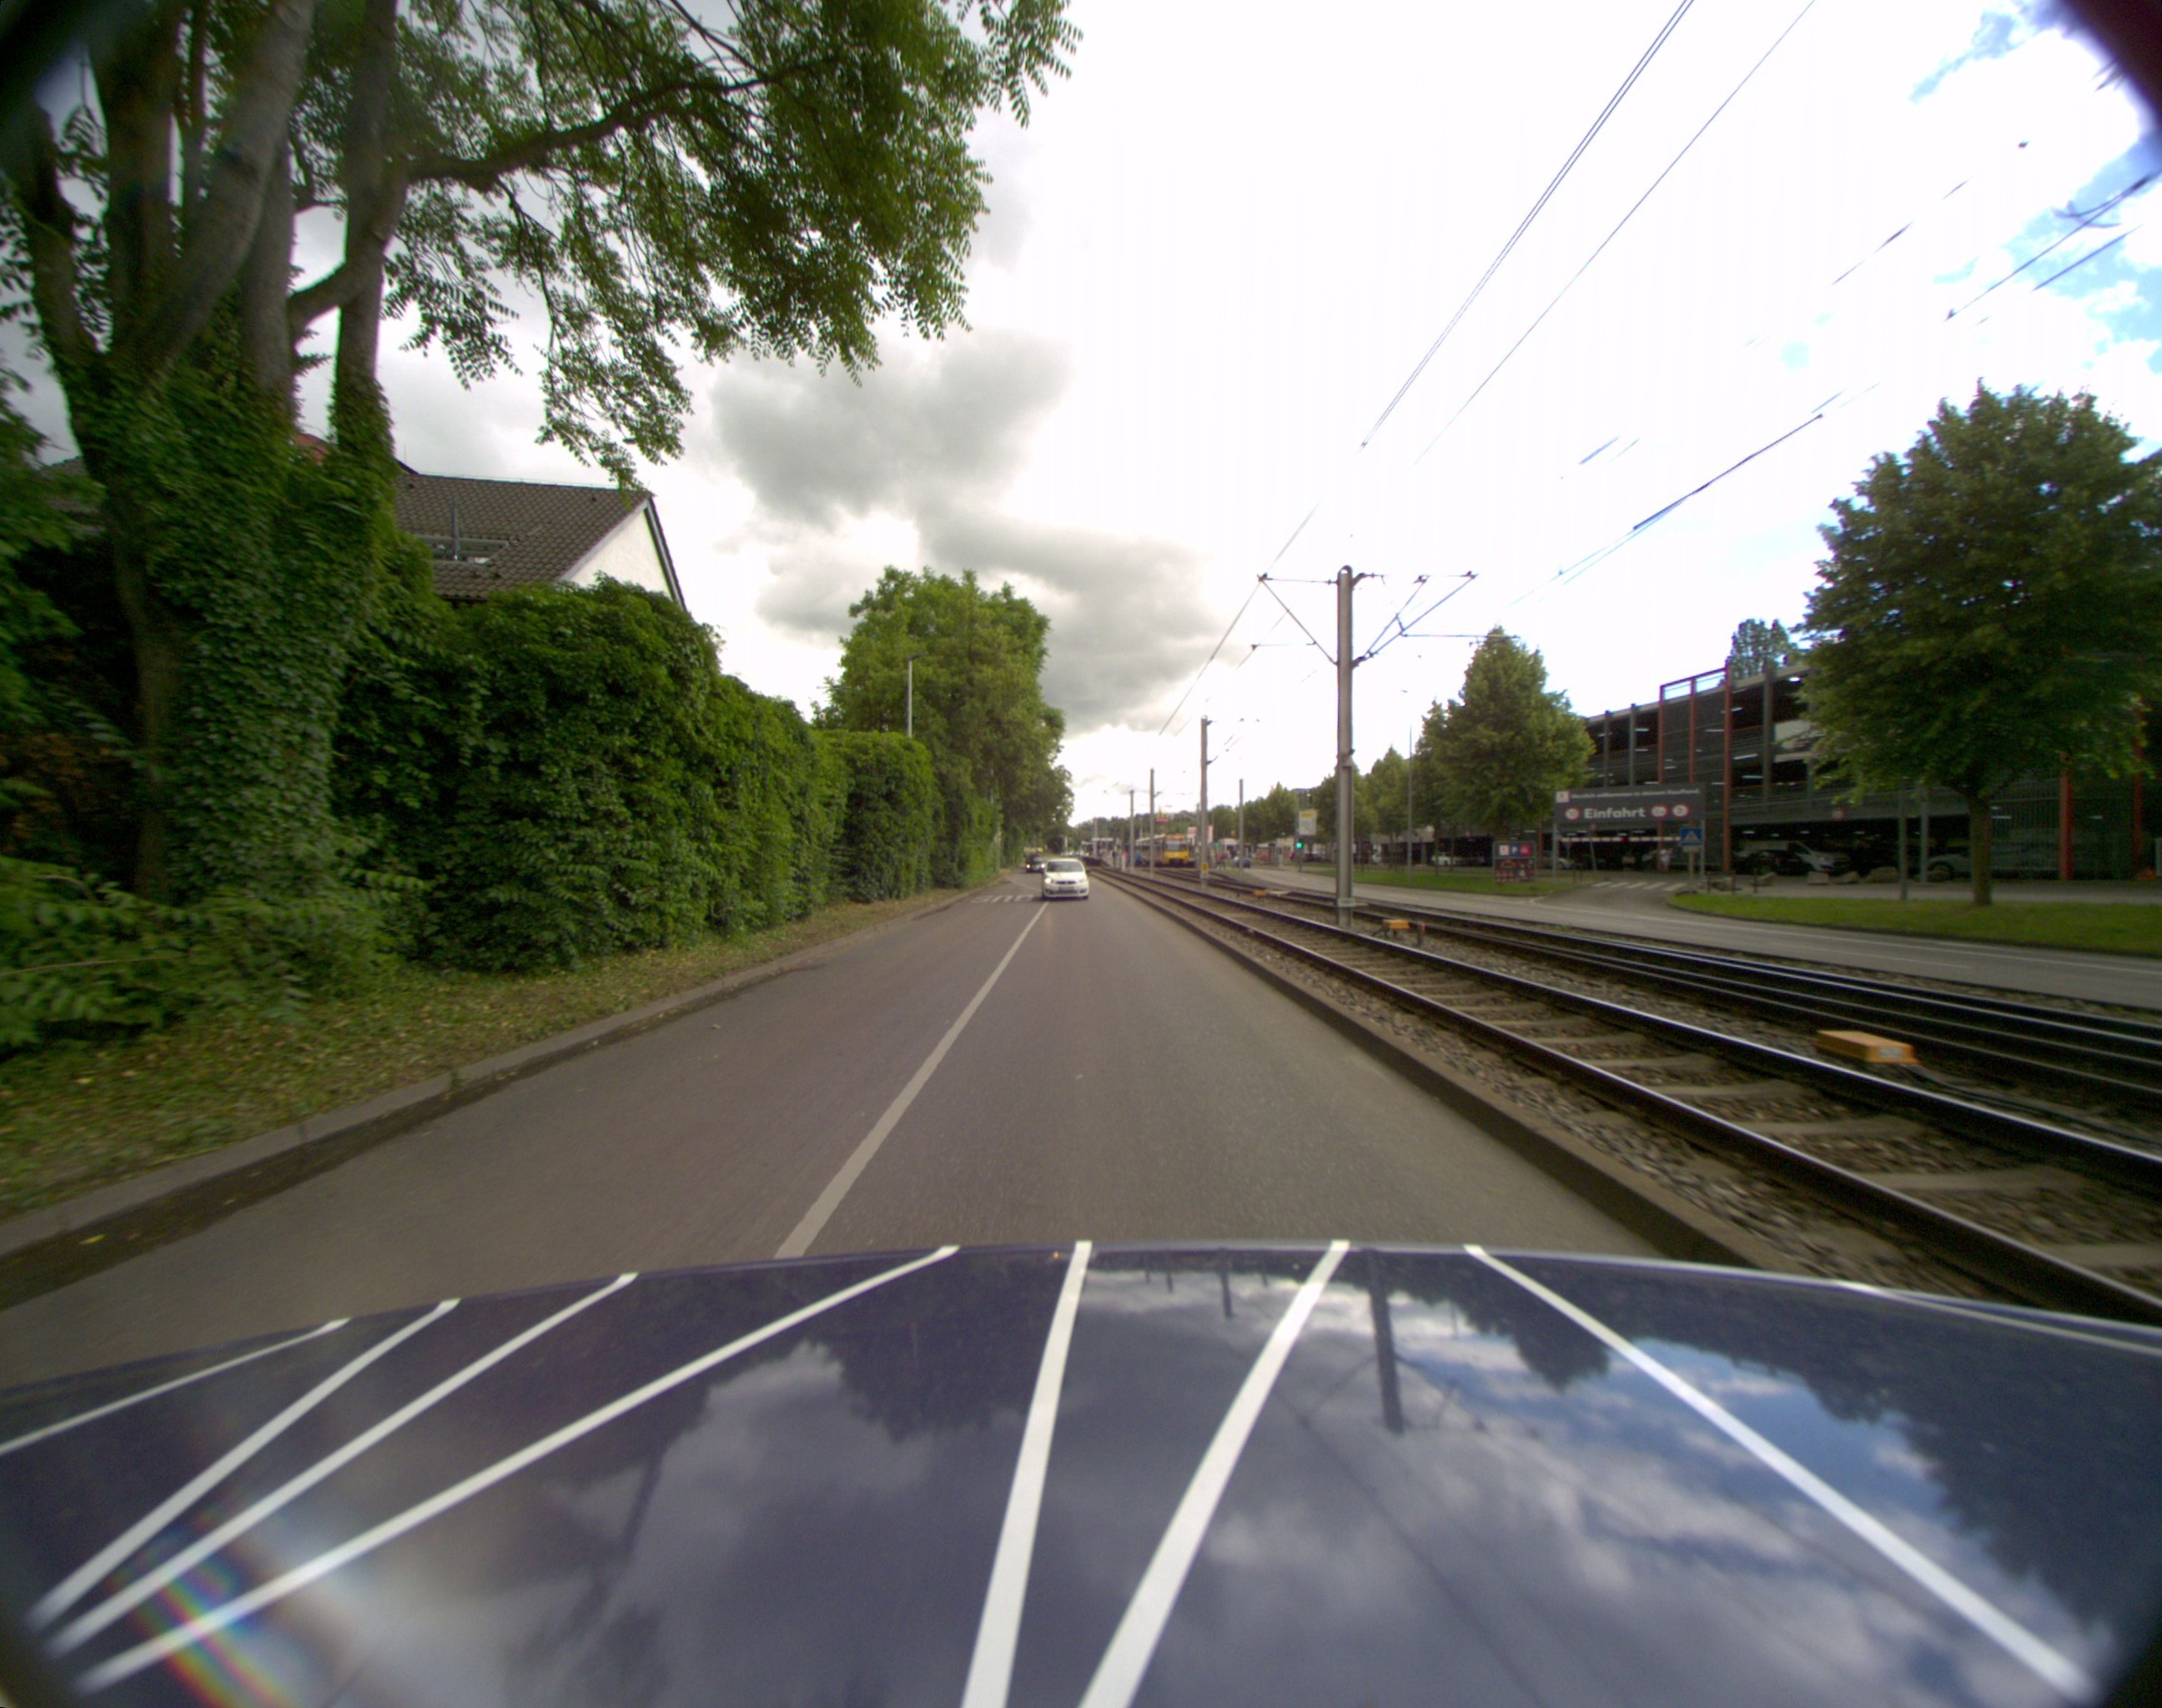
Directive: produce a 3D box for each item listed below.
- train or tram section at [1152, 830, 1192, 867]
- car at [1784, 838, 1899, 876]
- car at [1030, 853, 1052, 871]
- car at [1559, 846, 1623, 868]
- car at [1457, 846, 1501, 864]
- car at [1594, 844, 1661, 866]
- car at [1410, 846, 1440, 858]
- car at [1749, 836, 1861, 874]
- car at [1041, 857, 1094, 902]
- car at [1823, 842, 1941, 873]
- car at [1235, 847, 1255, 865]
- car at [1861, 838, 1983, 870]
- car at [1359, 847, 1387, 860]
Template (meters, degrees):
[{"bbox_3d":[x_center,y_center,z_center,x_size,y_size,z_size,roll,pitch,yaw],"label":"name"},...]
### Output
[{"bbox_3d":[10.098,-0.612,85.875,2.778,3.753,13.786,-1,0,0],"label":"train or tram section"},{"bbox_3d":[42.452,0.145,42.589,1.999,2.002,4.404,-1,0,-1],"label":"car"},{"bbox_3d":[-3.647,0.693,70.266,1.714,1.586,4.000,-1,0,2],"label":"car"},{"bbox_3d":[39.627,0.224,59.153,1.999,1.618,4.404,-1,0,-1],"label":"car"},{"bbox_3d":[39.614,0.091,75.706,1.999,1.689,4.404,-1,0,-1],"label":"car"},{"bbox_3d":[42.492,0.060,59.200,1.999,1.689,4.404,-1,0,-1],"label":"car"},{"bbox_3d":[46.681,-0.280,103.306,1.999,1.618,4.404,-1,0,-1],"label":"car"},{"bbox_3d":[40.329,0.027,42.487,1.999,2.002,4.404,-1,0,-1],"label":"car"},{"bbox_3d":[-0.560,0.880,28.231,1.765,1.469,4.029,-2,0,-3],"label":"car"},{"bbox_3d":[45.048,0.169,42.899,1.999,1.640,4.404,-1,0,-1],"label":"car"},{"bbox_3d":[19.620,0.210,90.813,1.997,2.002,4.002,-1,0,8],"label":"car"},{"bbox_3d":[47.311,-0.010,42.900,1.999,1.708,4.404,-1,0,-1],"label":"car"},{"bbox_3d":[39.525,-0.052,102.898,1.999,1.618,4.404,-1,0,-1],"label":"car"}]
